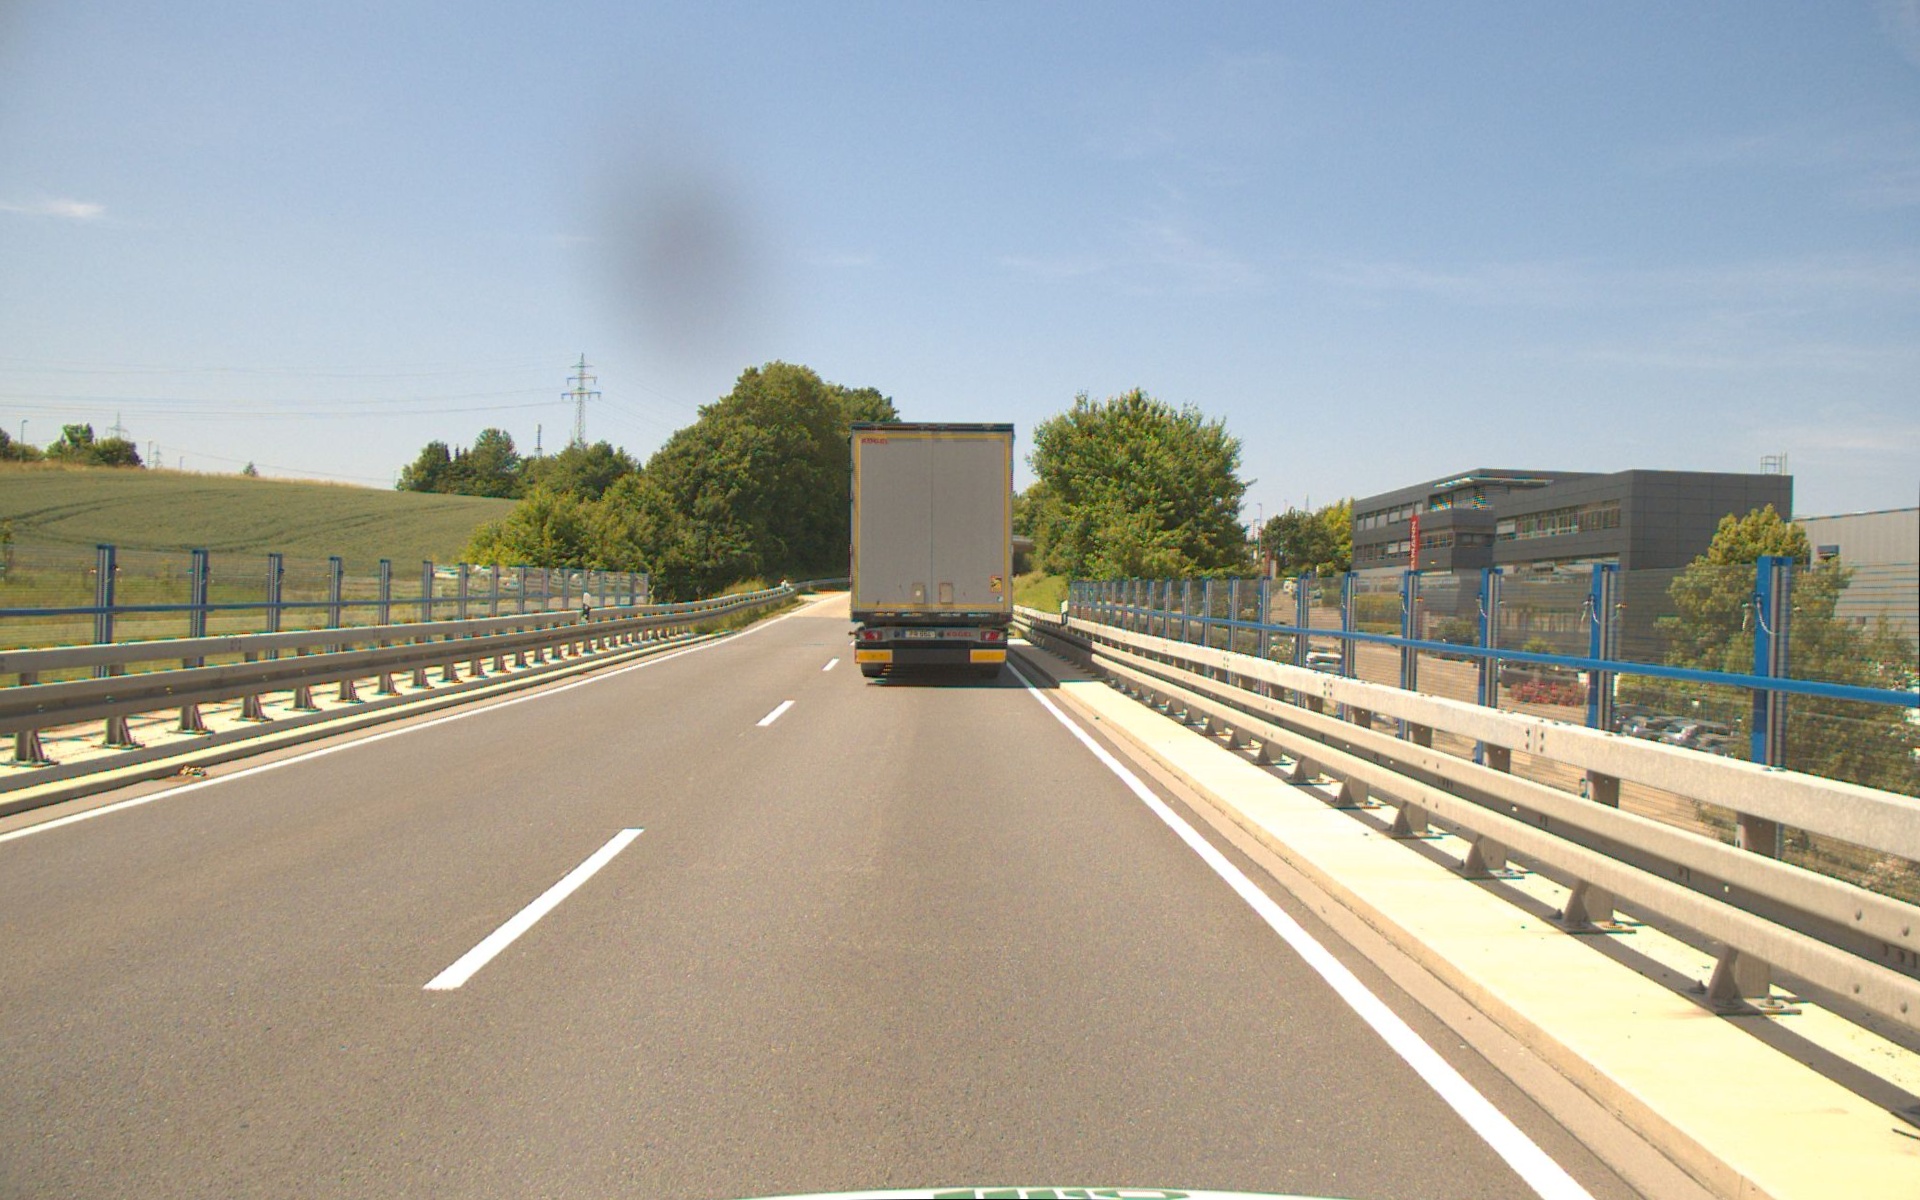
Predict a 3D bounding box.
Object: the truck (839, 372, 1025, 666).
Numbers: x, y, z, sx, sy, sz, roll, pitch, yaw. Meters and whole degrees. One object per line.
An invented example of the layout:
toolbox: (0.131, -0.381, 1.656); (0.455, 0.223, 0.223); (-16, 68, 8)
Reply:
truck: (-0.543, -1.124, 29.915); (2.808, 4.436, 9.784); (0, -1, -2)
